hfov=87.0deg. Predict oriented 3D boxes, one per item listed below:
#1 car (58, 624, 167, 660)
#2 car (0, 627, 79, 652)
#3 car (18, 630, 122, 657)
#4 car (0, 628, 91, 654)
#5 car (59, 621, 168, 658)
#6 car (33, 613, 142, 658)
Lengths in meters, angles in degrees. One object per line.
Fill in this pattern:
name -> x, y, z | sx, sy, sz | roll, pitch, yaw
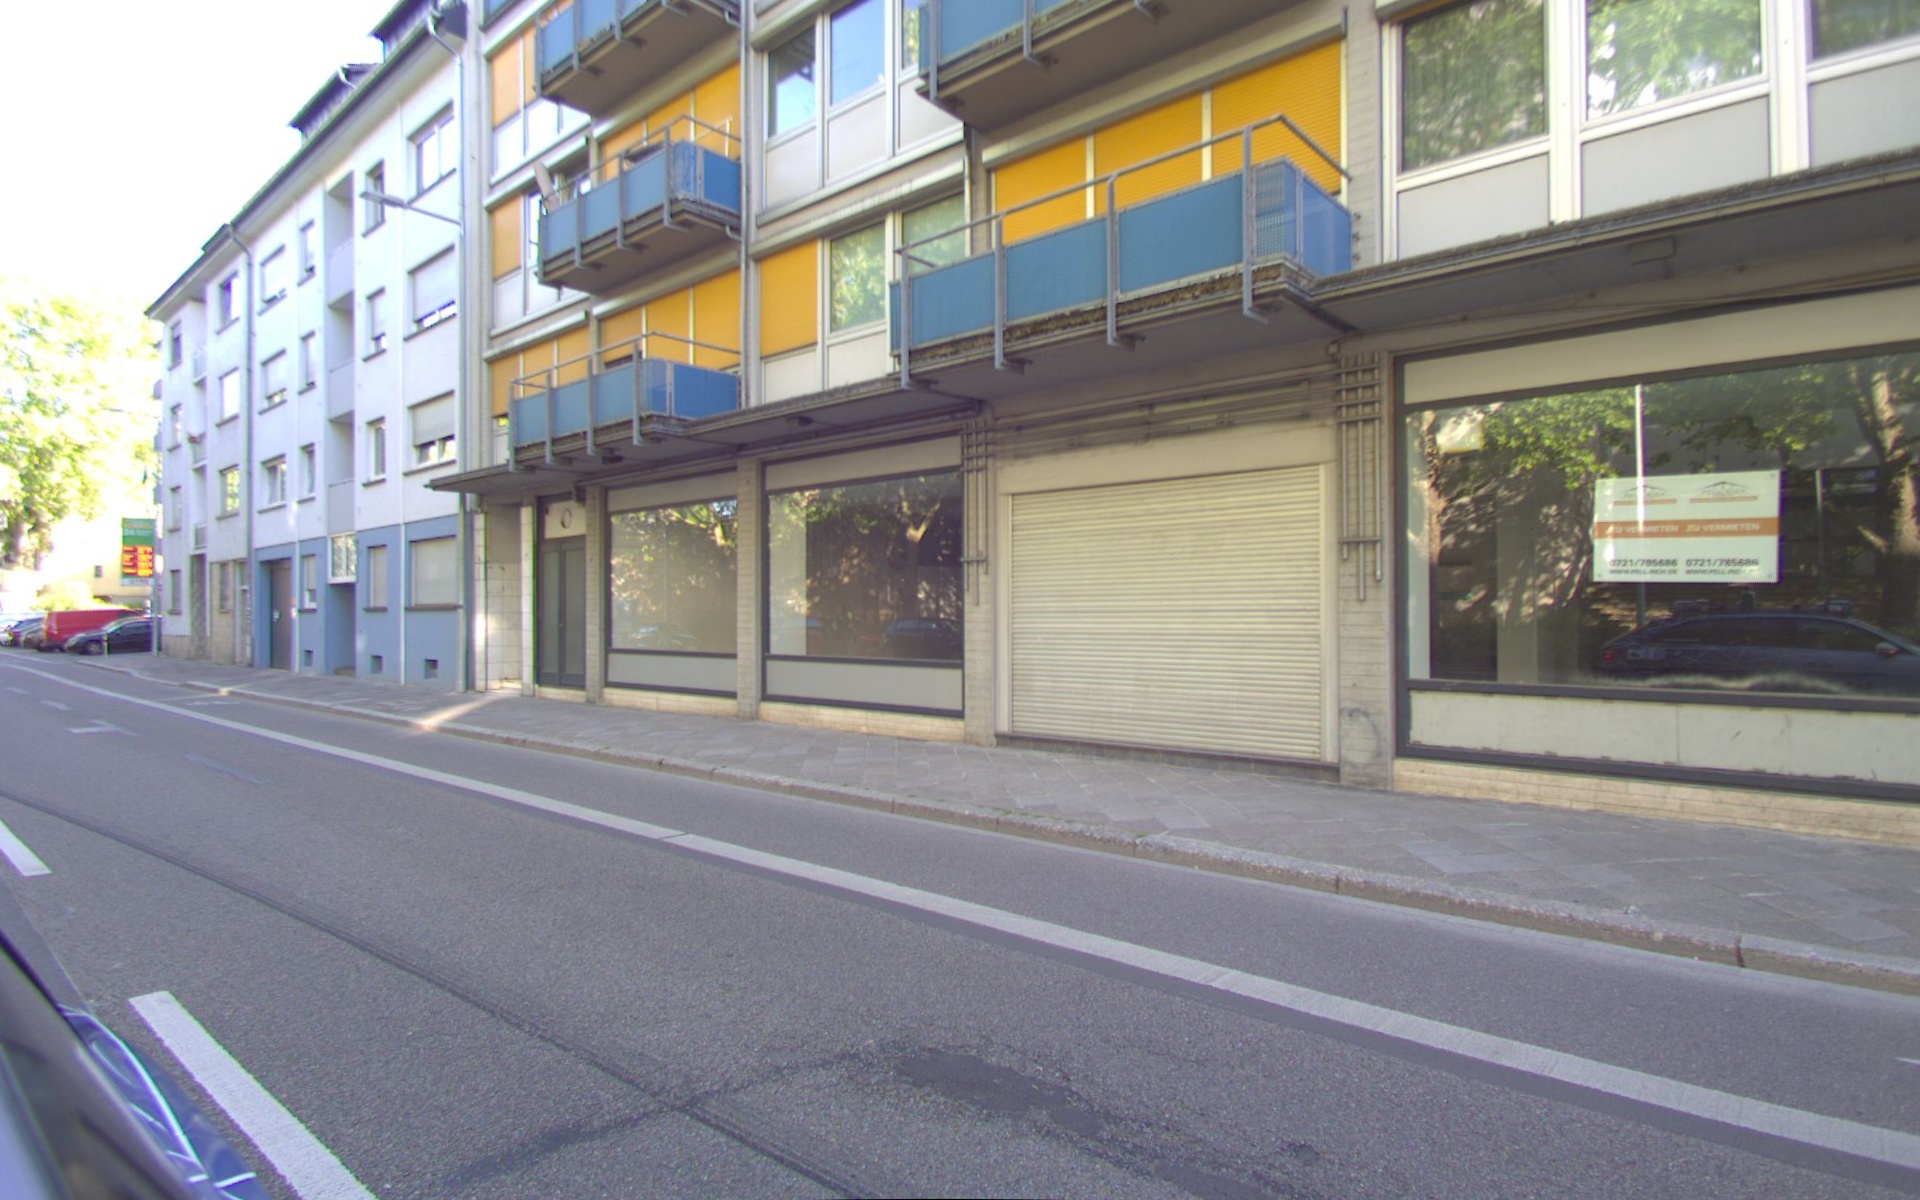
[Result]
car -> -36.679, 1.800, 43.845 | 1.490, 1.398, 3.462 | -1, 0, 43
car -> -52.263, 2.237, 57.505 | 1.345, 1.254, 3.228 | -1, 0, 43
car -> -42.817, 2.062, 48.739 | 1.345, 1.137, 3.638 | -1, 0, 43
car -> -50.449, 2.229, 55.876 | 1.345, 1.254, 3.638 | -1, 0, 43
car -> -38.195, 1.757, 45.725 | 1.490, 1.523, 3.638 | -1, 0, 43
car -> -40.654, 1.637, 47.224 | 1.488, 1.923, 3.642 | -4, -2, 39
